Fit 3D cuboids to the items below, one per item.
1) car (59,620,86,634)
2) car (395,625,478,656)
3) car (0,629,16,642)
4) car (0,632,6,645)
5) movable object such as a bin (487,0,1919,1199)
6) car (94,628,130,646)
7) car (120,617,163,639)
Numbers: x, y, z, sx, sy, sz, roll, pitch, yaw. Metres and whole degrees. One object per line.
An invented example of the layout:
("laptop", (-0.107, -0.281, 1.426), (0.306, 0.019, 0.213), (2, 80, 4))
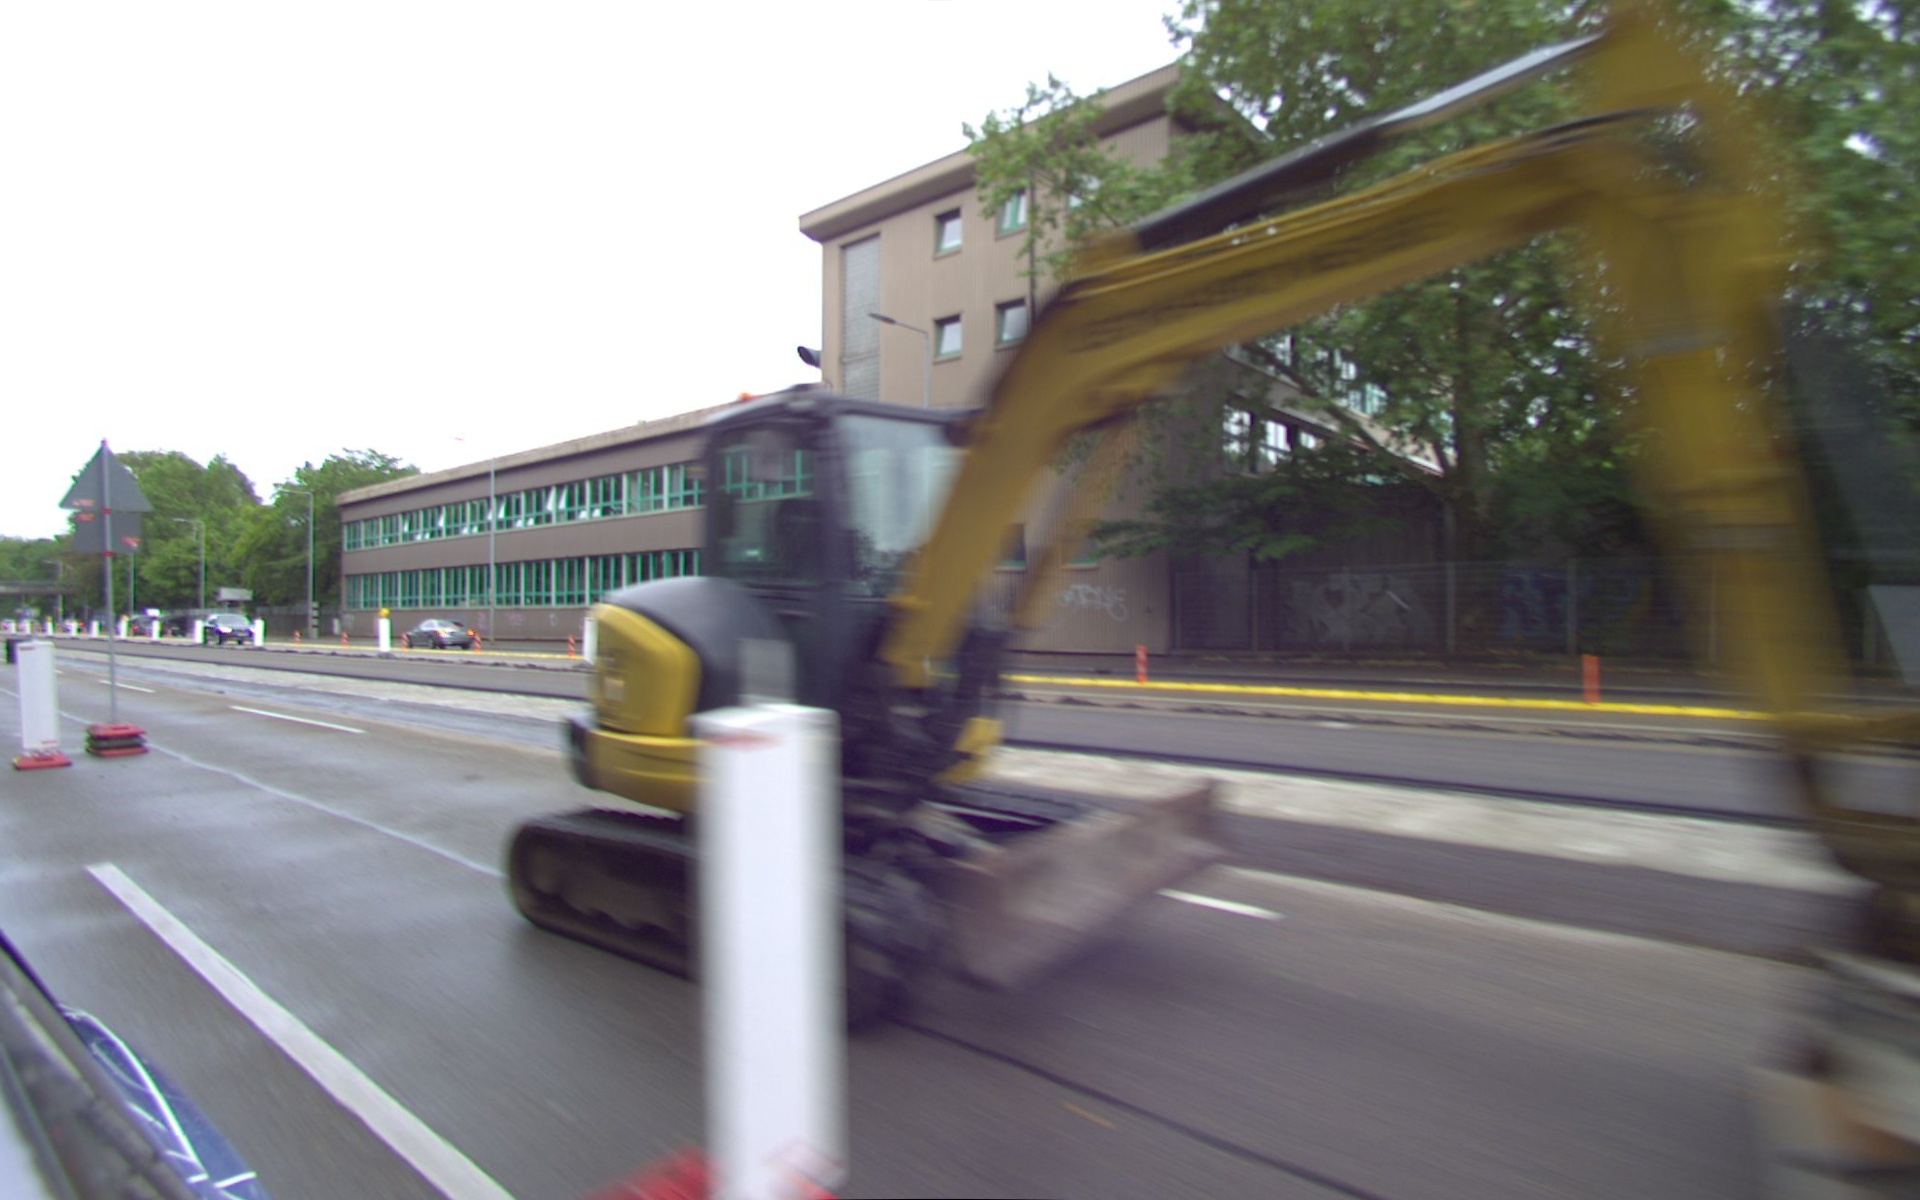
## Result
("car", (-109.233, 3.305, 124.569), (4.177, 1.598, 1.973), (-1, 0, 41))
("car", (-25.321, 1.940, 48.891), (4.789, 1.358, 1.972), (-1, 0, 42))
("car", (-135.481, 5.028, 143.519), (4.674, 1.781, 1.967), (-1, 0, 43))
("car", (-125.404, 5.001, 131.490), (3.990, 1.546, 1.785), (-1, 0, 41))
("movable object such as a bin", (0.572, -0.329, 3.719), (5.980, 3.393, 1.972), (-1, 0, 42))
("car", (-82.799, 3.588, 98.751), (4.932, 1.719, 1.918), (-1, 0, 40))
("car", (-67.564, 2.286, 83.482), (4.953, 1.794, 1.972), (-1, 0, 42))
